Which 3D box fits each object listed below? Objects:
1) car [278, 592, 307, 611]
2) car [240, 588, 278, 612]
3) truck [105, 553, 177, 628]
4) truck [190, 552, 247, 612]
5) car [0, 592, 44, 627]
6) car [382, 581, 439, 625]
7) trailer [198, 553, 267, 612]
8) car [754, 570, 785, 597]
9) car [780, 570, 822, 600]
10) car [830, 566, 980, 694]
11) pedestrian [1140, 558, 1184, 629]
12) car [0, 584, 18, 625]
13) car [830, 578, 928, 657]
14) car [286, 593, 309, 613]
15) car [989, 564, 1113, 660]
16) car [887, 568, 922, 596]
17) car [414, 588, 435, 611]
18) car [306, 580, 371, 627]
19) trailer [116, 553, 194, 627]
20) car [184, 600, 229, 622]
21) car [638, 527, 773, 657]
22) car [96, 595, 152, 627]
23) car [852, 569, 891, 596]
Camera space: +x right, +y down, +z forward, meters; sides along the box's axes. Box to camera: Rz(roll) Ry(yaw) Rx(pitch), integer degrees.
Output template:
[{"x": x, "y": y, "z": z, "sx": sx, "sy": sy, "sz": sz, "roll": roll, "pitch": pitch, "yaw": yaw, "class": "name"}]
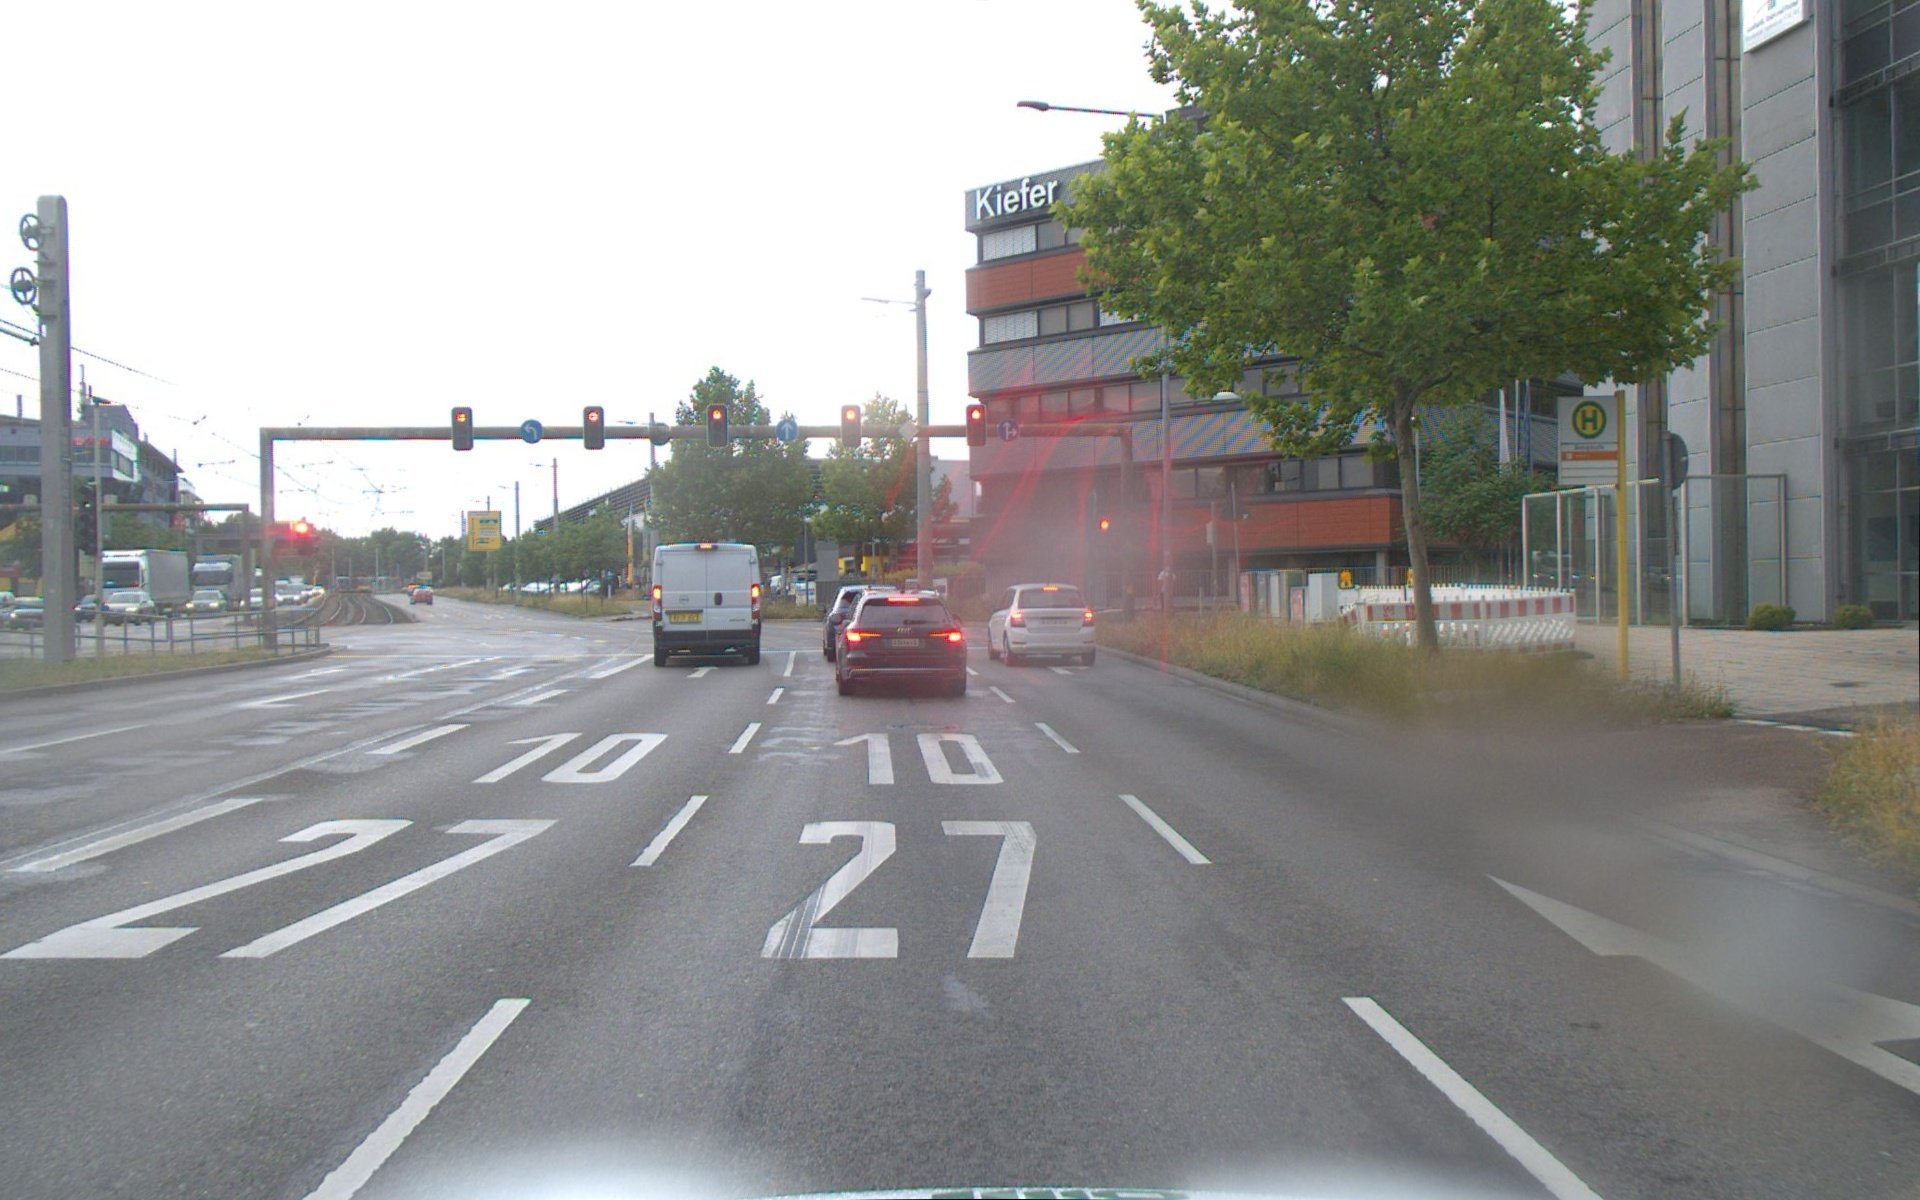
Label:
[{"x": -59.332, "y": 0.116, "z": 147.122, "sx": 1.872, "sy": 1.582, "sz": 4.546, "roll": 1, "pitch": 0, "yaw": -16, "class": "car"}, {"x": -49.934, "y": 0.008, "z": 117.819, "sx": 1.855, "sy": 1.681, "sz": 4.079, "roll": 1, "pitch": -1, "yaw": -15, "class": "car"}, {"x": -46.526, "y": -0.543, "z": 94.107, "sx": 2.789, "sy": 4.065, "sz": 5.955, "roll": -1, "pitch": 1, "yaw": -19, "class": "truck"}, {"x": -54.049, "y": -1.240, "z": 120.731, "sx": 2.621, "sy": 4.202, "sz": 6.164, "roll": -1, "pitch": 0, "yaw": -14, "class": "truck"}, {"x": -45.816, "y": 0.445, "z": 79.723, "sx": 1.543, "sy": 1.655, "sz": 4.073, "roll": 1, "pitch": 0, "yaw": -9, "class": "car"}, {"x": -26.743, "y": 0.103, "z": 80.596, "sx": 1.739, "sy": 2.049, "sz": 4.341, "roll": 1, "pitch": 0, "yaw": -7, "class": "car"}, {"x": -55.427, "y": -1.229, "z": 126.301, "sx": 2.605, "sy": 4.197, "sz": 12.697, "roll": -1, "pitch": 0, "yaw": -14, "class": "trailer"}, {"x": -14.674, "y": -1.246, "z": 127.163, "sx": 1.654, "sy": 2.049, "sz": 3.522, "roll": 1, "pitch": -1, "yaw": -19, "class": "car"}, {"x": -11.431, "y": -1.059, "z": 118.560, "sx": 1.966, "sy": 2.067, "sz": 3.974, "roll": -2, "pitch": 1, "yaw": -22, "class": "car"}, {"x": -0.836, "y": 0.406, "z": 23.689, "sx": 1.954, "sy": 1.666, "sz": 3.997, "roll": 0, "pitch": -1, "yaw": -4, "class": "car"}, {"x": 6.328, "y": -0.208, "z": 51.789, "sx": 1.121, "sy": 2.162, "sz": 1.221, "roll": -2, "pitch": 2, "yaw": -4, "class": "pedestrian"}, {"x": -36.704, "y": 0.145, "z": 61.116, "sx": 1.646, "sy": 1.524, "sz": 4.921, "roll": 1, "pitch": -1, "yaw": -9, "class": "car"}, {"x": -1.607, "y": 0.350, "z": 33.572, "sx": 1.856, "sy": 1.491, "sz": 3.907, "roll": -1, "pitch": 0, "yaw": -2, "class": "car"}, {"x": -65.368, "y": 0.299, "z": 163.224, "sx": 1.964, "sy": 1.869, "sz": 4.880, "roll": 0, "pitch": 1, "yaw": -20, "class": "car"}, {"x": 1.634, "y": 0.228, "z": 31.162, "sx": 1.793, "sy": 1.685, "sz": 3.996, "roll": 0, "pitch": -1, "yaw": -5, "class": "car"}, {"x": -4.162, "y": -1.335, "z": 122.913, "sx": 1.651, "sy": 2.049, "sz": 3.118, "roll": 1, "pitch": -1, "yaw": -21, "class": "car"}, {"x": -49.908, "y": -0.059, "z": 154.127, "sx": 1.745, "sy": 2.049, "sz": 4.324, "roll": 1, "pitch": -1, "yaw": -18, "class": "car"}, {"x": -28.299, "y": 0.145, "z": 75.377, "sx": 1.739, "sy": 2.049, "sz": 4.341, "roll": 1, "pitch": 1, "yaw": -7, "class": "car"}, {"x": -48.447, "y": -0.636, "z": 99.820, "sx": 2.752, "sy": 4.179, "sz": 11.380, "roll": -1, "pitch": 1, "yaw": -19, "class": "trailer"}, {"x": -45.081, "y": 0.660, "z": 98.993, "sx": 1.878, "sy": 1.286, "sz": 4.392, "roll": 1, "pitch": -1, "yaw": -17, "class": "car"}, {"x": -5.042, "y": -0.117, "z": 32.770, "sx": 2.400, "sy": 2.334, "sz": 4.894, "roll": 1, "pitch": -1, "yaw": -9, "class": "car"}, {"x": -40.923, "y": 0.539, "z": 81.057, "sx": 1.711, "sy": 1.488, "sz": 4.133, "roll": 1, "pitch": -1, "yaw": -17, "class": "car"}, {"x": -7.045, "y": -1.397, "z": 131.009, "sx": 1.846, "sy": 2.049, "sz": 3.745, "roll": 1, "pitch": -1, "yaw": -24, "class": "car"}]
